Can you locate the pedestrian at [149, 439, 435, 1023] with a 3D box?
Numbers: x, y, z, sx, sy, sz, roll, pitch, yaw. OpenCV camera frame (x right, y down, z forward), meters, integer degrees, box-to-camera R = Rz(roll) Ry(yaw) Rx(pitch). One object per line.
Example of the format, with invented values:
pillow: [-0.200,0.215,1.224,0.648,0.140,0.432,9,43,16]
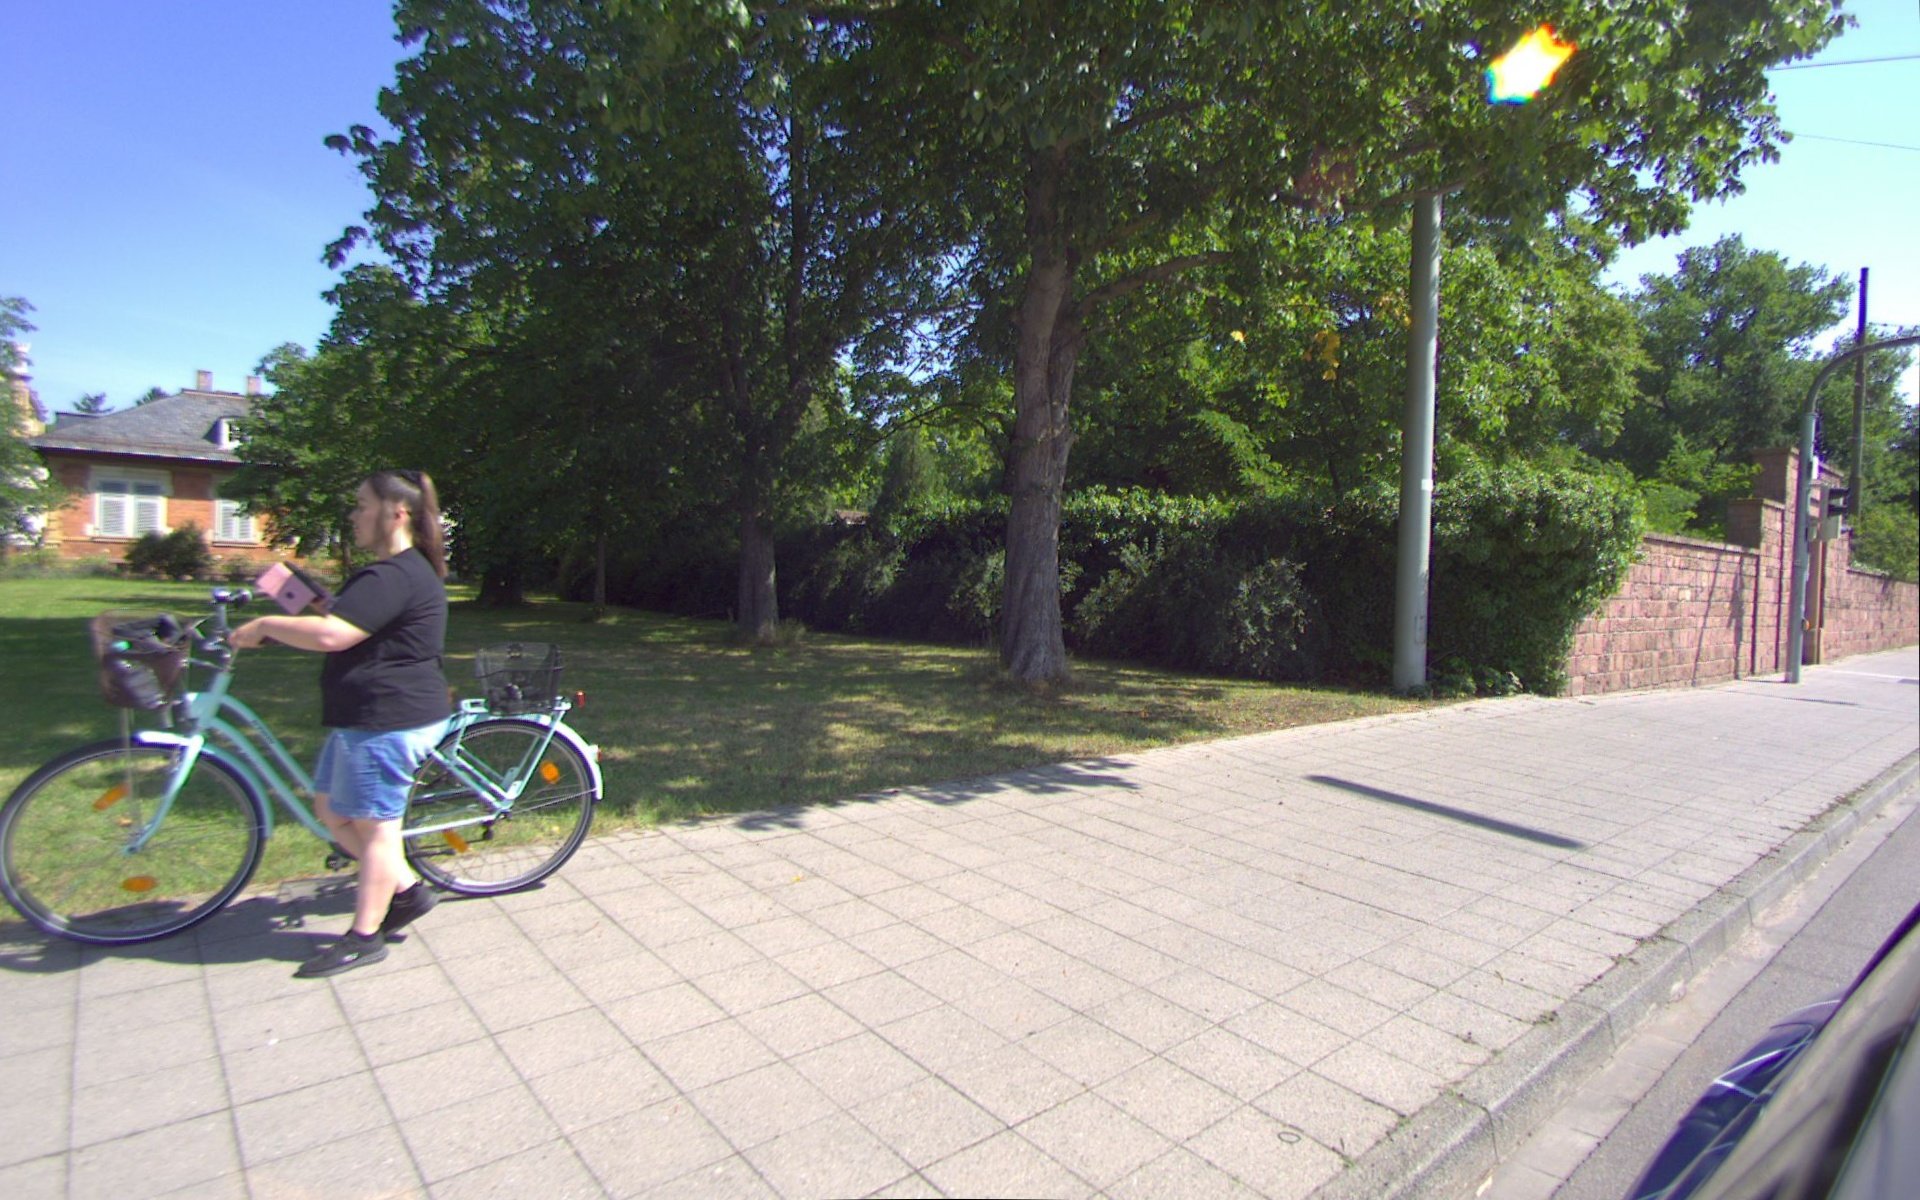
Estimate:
pedestrian: [-2.060,0.339,3.116,0.651,1.567,0.542,1,4,-40]

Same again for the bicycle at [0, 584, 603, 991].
bicycle: [-2.200,0.531,3.448,1.770,1.125,0.538,0,3,-30]
